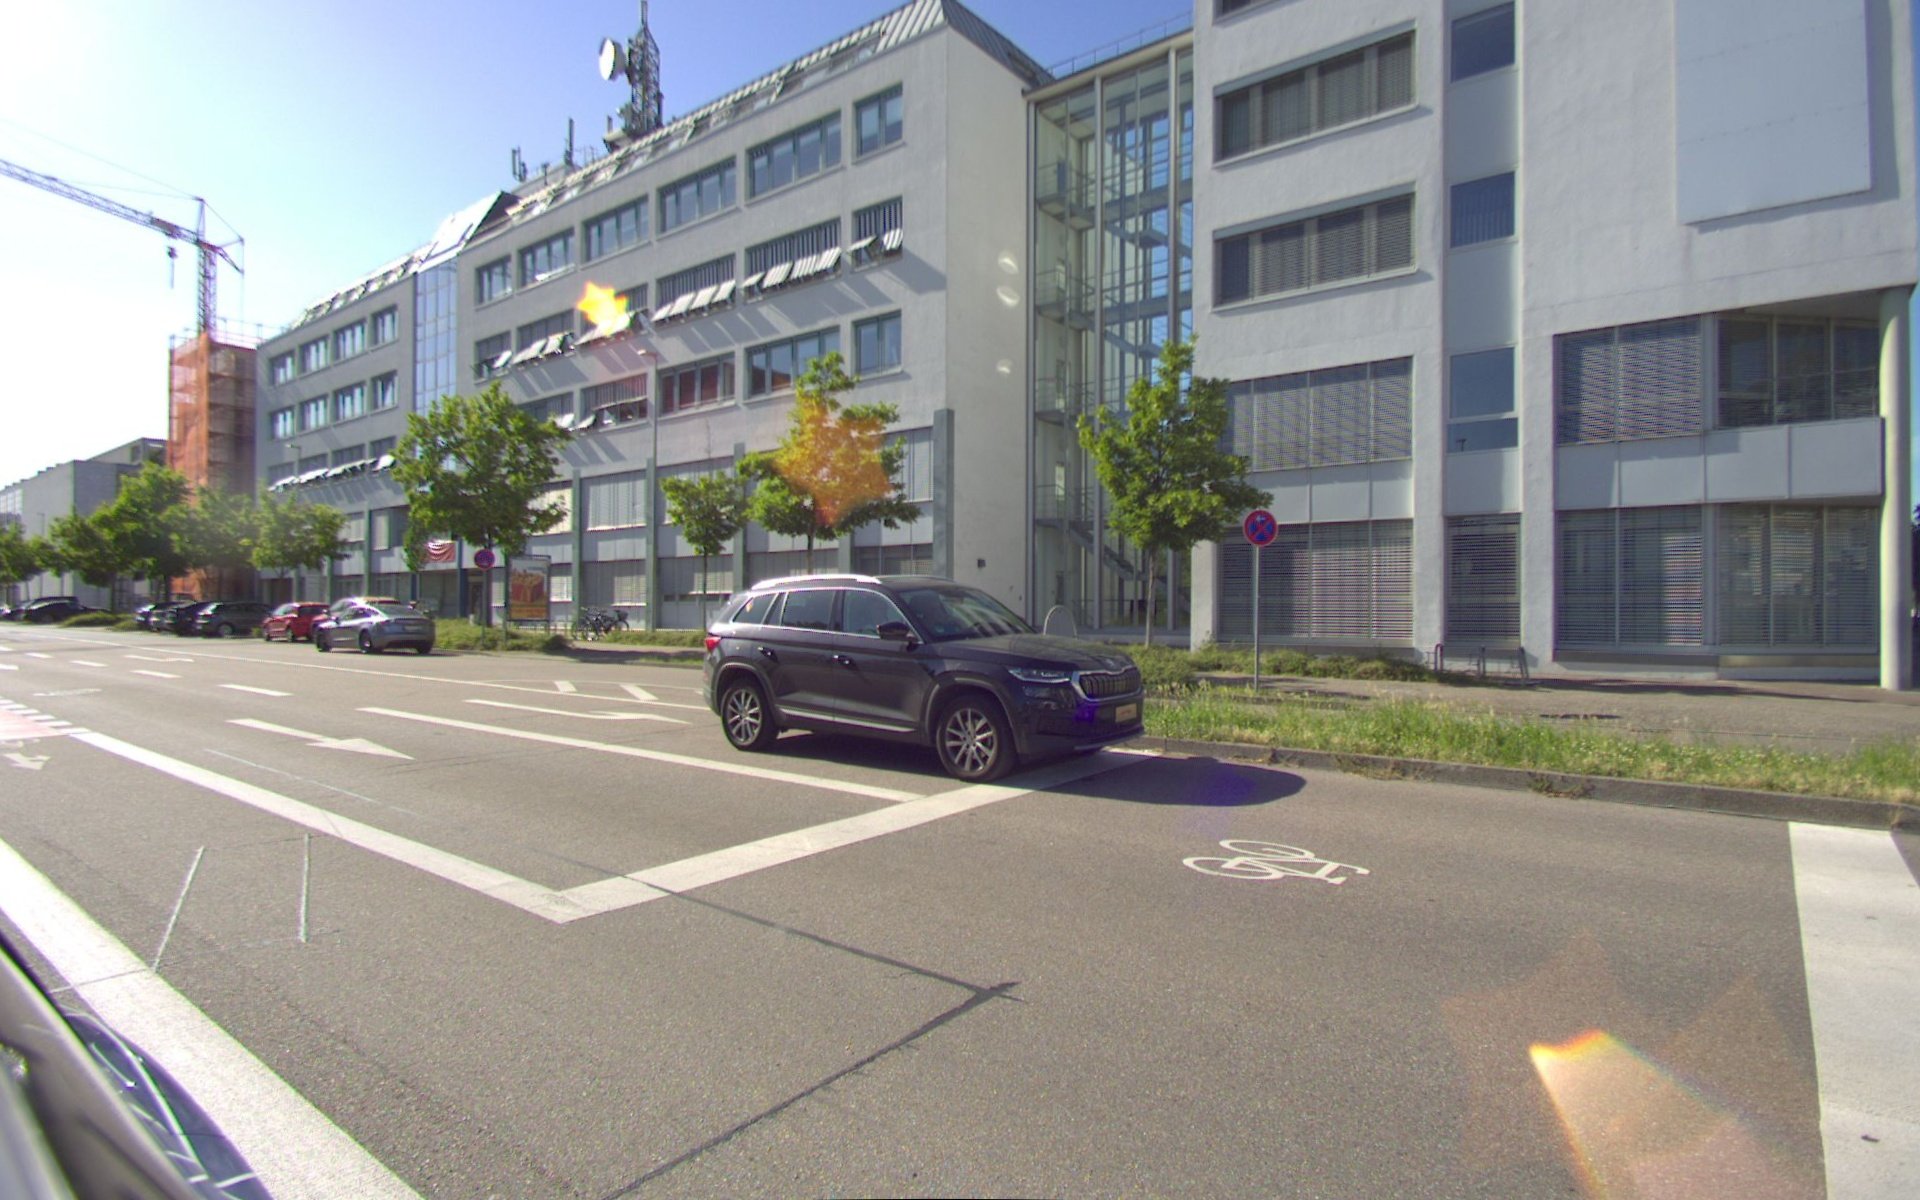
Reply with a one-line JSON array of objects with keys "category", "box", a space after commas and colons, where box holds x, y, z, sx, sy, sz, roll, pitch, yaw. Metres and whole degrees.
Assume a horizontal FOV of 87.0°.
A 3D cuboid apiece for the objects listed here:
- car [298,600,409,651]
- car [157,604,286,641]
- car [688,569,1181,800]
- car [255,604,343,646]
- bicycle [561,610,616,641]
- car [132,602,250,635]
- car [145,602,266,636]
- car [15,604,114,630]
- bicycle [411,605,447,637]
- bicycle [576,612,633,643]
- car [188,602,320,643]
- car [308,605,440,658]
[{"category": "car", "box": [-21.166, 0.853, 35.282, 4.300, 1.619, 1.674, 0, 1, 34]}, {"category": "car", "box": [-32.965, 0.970, 45.310, 1.690, 1.442, 4.347, 0, 1, 36]}, {"category": "car", "box": [-0.413, 0.592, 9.314, 4.473, 1.640, 1.737, 0, 1, 39]}, {"category": "car", "box": [-25.069, 0.916, 38.325, 3.867, 1.442, 1.672, 0, 1, 39]}, {"category": "bicycle", "box": [-13.254, 0.932, 36.094, 1.746, 1.077, 0.556, 2, -2, -44]}, {"category": "car", "box": [-37.695, 0.864, 49.704, 1.692, 1.442, 4.342, 0, 1, 40]}, {"category": "car", "box": [-35.935, 0.879, 48.306, 1.692, 1.442, 4.341, 0, 1, 40]}, {"category": "car", "box": [-56.821, 1.048, 64.268, 1.973, 1.442, 4.348, 0, 1, 35]}, {"category": "bicycle", "box": [-23.304, 0.924, 44.389, 2.233, 1.357, 0.701, 0, -2, 45]}, {"category": "bicycle", "box": [-12.544, 0.975, 35.746, 1.767, 1.077, 0.622, 2, -2, -44]}, {"category": "car", "box": [-30.383, 0.911, 43.665, 1.689, 1.549, 4.349, 0, 1, 34]}, {"category": "car", "box": [-17.450, 0.911, 30.051, 4.538, 1.479, 1.673, 0, -2, 36]}]
